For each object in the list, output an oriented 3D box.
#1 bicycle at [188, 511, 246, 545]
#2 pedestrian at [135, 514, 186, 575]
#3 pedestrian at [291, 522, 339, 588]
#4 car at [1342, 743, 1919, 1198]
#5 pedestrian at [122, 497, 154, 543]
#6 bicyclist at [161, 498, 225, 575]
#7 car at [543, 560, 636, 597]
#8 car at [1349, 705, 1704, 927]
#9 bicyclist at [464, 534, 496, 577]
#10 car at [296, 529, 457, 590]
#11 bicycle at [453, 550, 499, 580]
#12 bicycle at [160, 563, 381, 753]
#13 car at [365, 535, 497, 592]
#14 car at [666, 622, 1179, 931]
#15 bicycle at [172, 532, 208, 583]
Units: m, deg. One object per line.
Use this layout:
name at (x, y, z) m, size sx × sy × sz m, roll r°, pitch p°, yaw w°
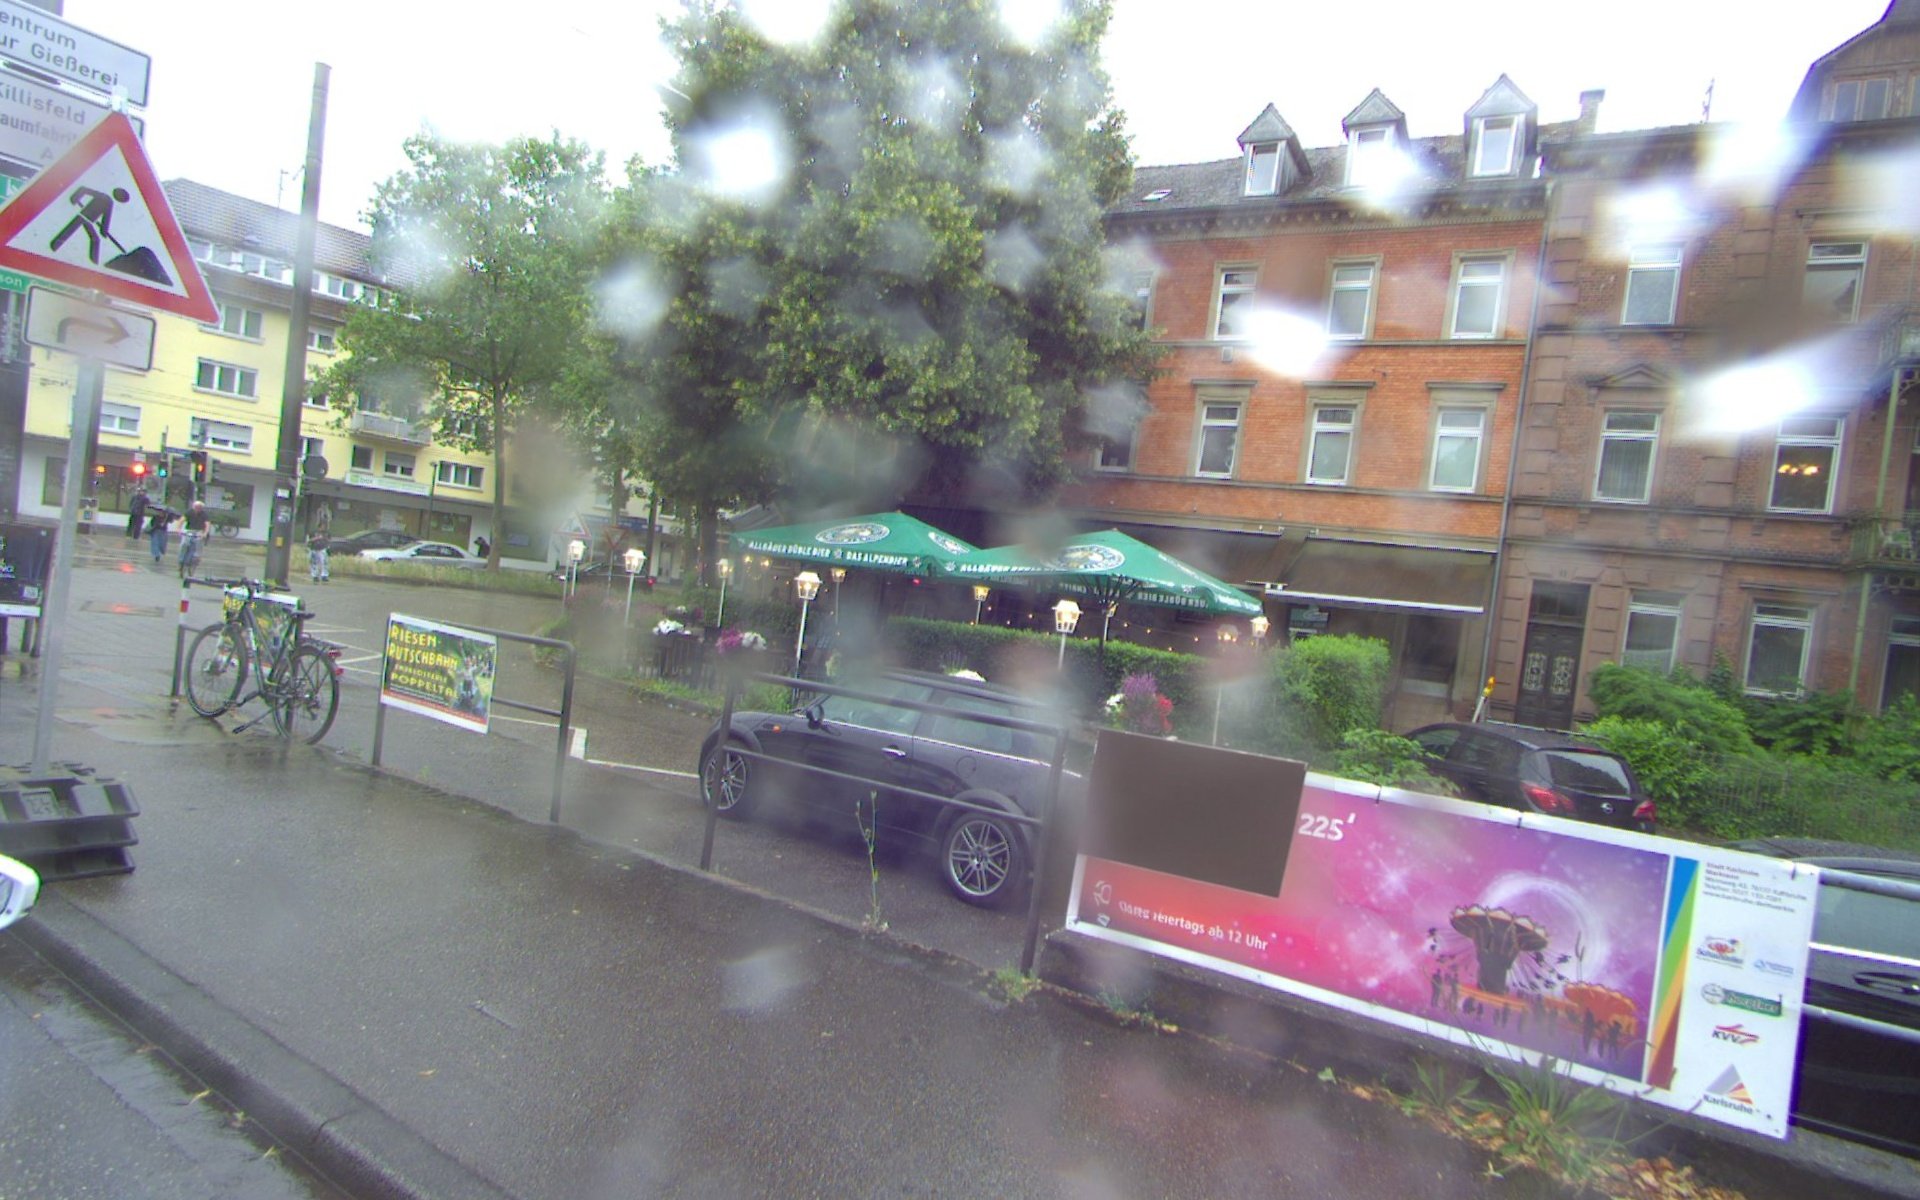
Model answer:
bicycle at (-35.597, -3.435, 48.203) m, size 2.096 × 1.277 × 0.525 m, roll 8°, pitch 0°, yaw -44°
pedestrian at (-21.826, -1.503, 27.486) m, size 0.612 × 1.552 × 0.816 m, roll 7°, pitch 0°, yaw -6°
pedestrian at (-17.883, -1.238, 27.920) m, size 0.898 × 1.689 × 1.012 m, roll 7°, pitch -1°, yaw -31°
car at (4.165, 1.772, 4.965) m, size 3.907 × 1.416 × 1.706 m, roll 7°, pitch -1°, yaw 32°
pedestrian at (-29.377, -2.857, 35.953) m, size 0.614 × 1.518 × 0.550 m, roll 7°, pitch 0°, yaw -23°
bicyclist at (-17.601, -1.453, 23.089) m, size 0.848 × 1.602 × 0.877 m, roll 7°, pitch -1°, yaw 42°
car at (-15.510, -0.879, 42.280) m, size 1.227 × 1.095 × 3.531 m, roll 7°, pitch -2°, yaw 34°
car at (6.569, 2.417, 12.297) m, size 1.963 × 1.733 × 4.002 m, roll 7°, pitch -1°, yaw 1°
bicyclist at (-19.935, -1.857, 41.774) m, size 0.699 × 1.634 × 0.815 m, roll 7°, pitch 0°, yaw 32°
car at (-22.440, -1.522, 38.829) m, size 1.975 × 1.661 × 4.928 m, roll 3°, pitch -4°, yaw 43°
bicycle at (-20.043, -1.454, 41.702) m, size 0.415 × 1.013 × 1.640 m, roll 7°, pitch -1°, yaw 32°
bicycle at (-5.175, 0.402, 7.503) m, size 1.984 × 1.119 × 0.515 m, roll 7°, pitch -3°, yaw 34°
car at (-19.666, -1.330, 37.446) m, size 3.926 × 1.508 × 1.784 m, roll 8°, pitch 0°, yaw -43°
car at (-0.349, 1.213, 7.806) m, size 3.468 × 1.457 × 1.710 m, roll 8°, pitch -3°, yaw 34°
bicycle at (-17.644, -0.999, 23.073) m, size 0.456 × 1.040 × 1.883 m, roll 7°, pitch 0°, yaw -34°
